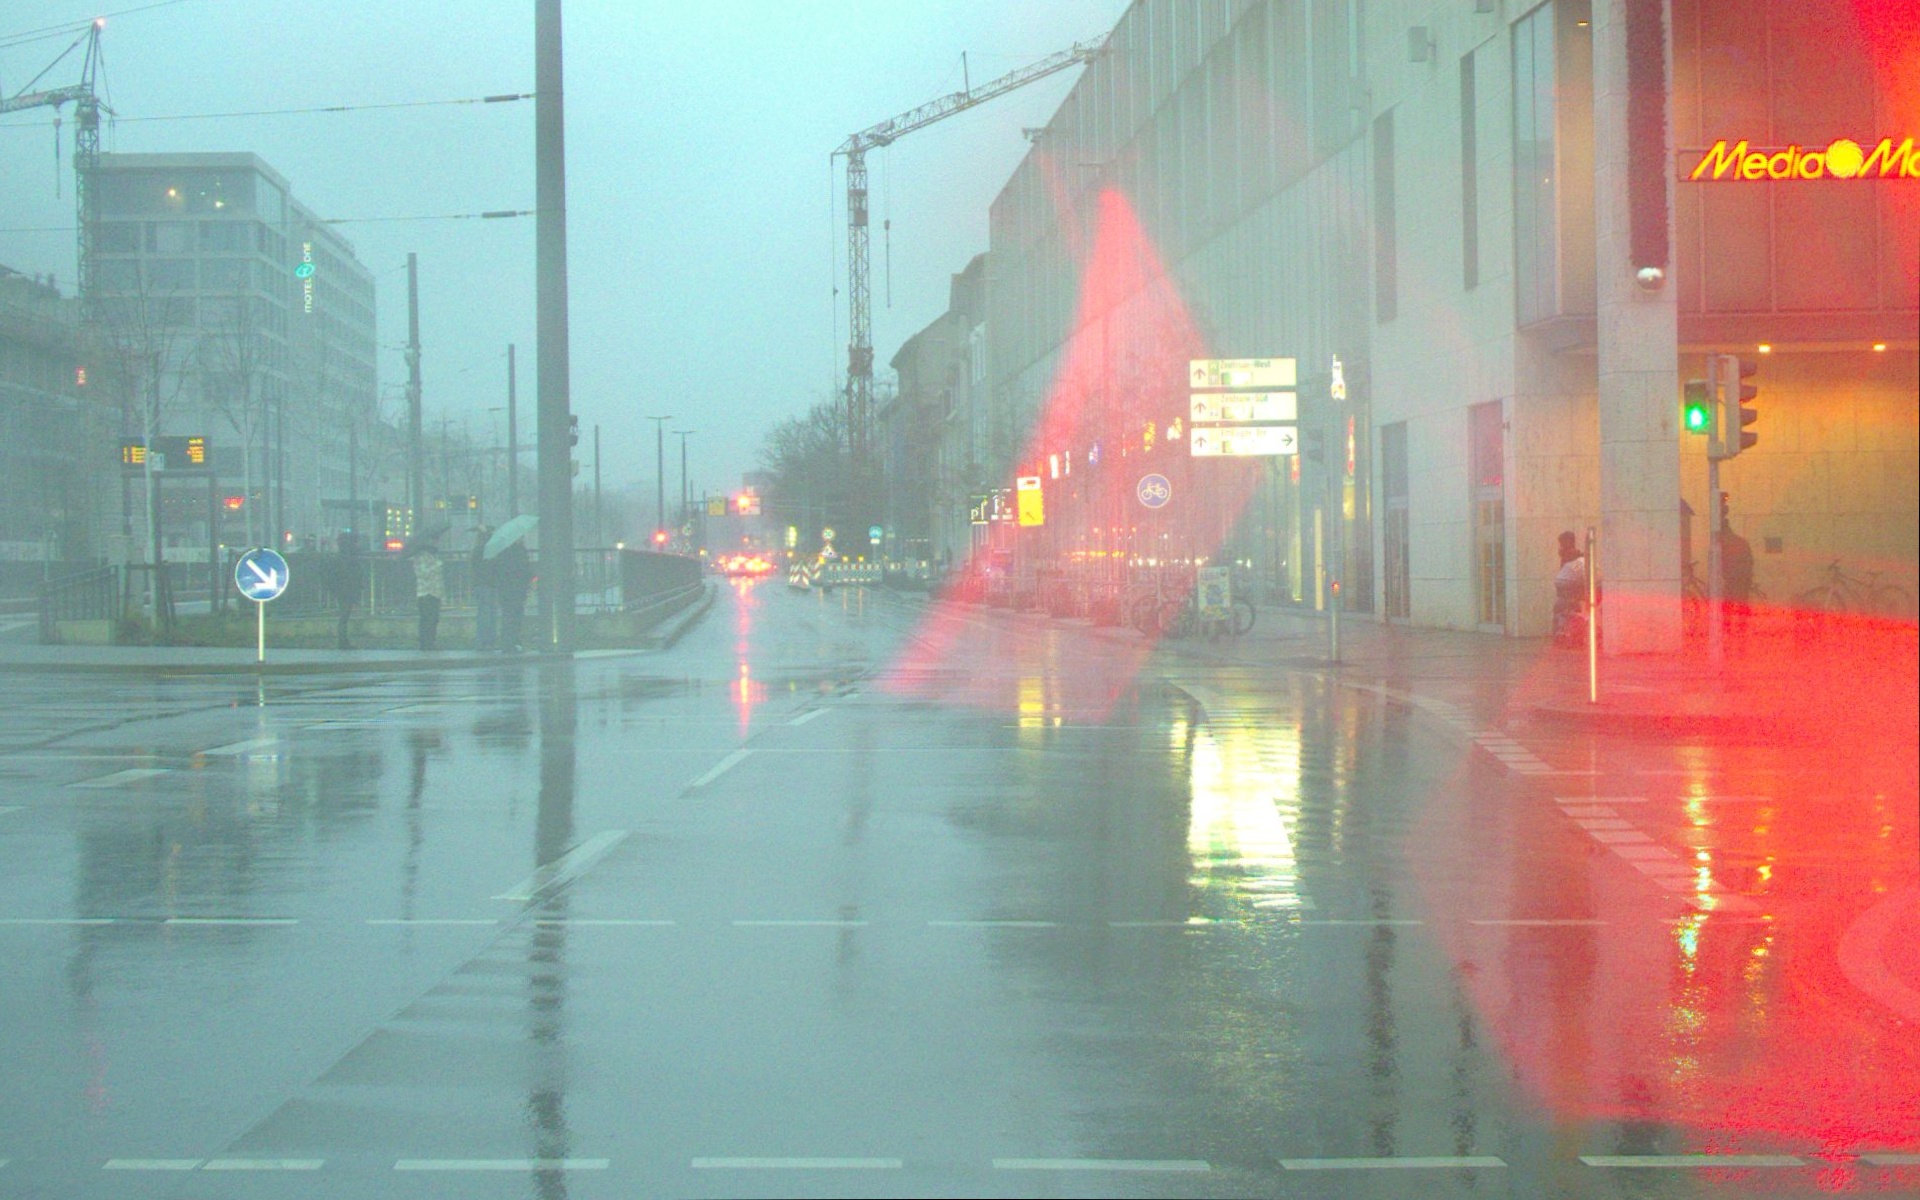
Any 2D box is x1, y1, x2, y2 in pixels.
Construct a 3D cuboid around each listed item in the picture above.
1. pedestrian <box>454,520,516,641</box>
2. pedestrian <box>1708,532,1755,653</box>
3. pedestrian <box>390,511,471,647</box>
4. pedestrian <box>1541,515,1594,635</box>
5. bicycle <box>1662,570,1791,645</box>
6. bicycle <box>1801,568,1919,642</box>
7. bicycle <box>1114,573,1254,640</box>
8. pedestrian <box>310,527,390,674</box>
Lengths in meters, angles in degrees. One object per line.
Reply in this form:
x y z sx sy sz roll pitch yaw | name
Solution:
-6.635 -0.276 48.033 0.612 1.680 0.577 1 1 42 | pedestrian
11.246 -0.110 50.124 0.600 1.739 0.524 1 0 8 | pedestrian
-7.167 -0.286 46.501 0.821 1.825 0.786 1 0 -31 | pedestrian
8.719 -0.355 49.355 0.636 1.703 0.573 -1 0 -1 | pedestrian
11.297 0.110 50.682 1.767 1.066 0.525 1 0 -8 | bicycle
13.327 0.069 50.815 1.646 1.066 0.525 1 0 -4 | bicycle
4.006 0.116 61.606 2.442 1.150 0.674 -1 0 -1 | bicycle
-8.405 0.001 47.383 0.785 2.007 0.726 1 1 42 | pedestrian
